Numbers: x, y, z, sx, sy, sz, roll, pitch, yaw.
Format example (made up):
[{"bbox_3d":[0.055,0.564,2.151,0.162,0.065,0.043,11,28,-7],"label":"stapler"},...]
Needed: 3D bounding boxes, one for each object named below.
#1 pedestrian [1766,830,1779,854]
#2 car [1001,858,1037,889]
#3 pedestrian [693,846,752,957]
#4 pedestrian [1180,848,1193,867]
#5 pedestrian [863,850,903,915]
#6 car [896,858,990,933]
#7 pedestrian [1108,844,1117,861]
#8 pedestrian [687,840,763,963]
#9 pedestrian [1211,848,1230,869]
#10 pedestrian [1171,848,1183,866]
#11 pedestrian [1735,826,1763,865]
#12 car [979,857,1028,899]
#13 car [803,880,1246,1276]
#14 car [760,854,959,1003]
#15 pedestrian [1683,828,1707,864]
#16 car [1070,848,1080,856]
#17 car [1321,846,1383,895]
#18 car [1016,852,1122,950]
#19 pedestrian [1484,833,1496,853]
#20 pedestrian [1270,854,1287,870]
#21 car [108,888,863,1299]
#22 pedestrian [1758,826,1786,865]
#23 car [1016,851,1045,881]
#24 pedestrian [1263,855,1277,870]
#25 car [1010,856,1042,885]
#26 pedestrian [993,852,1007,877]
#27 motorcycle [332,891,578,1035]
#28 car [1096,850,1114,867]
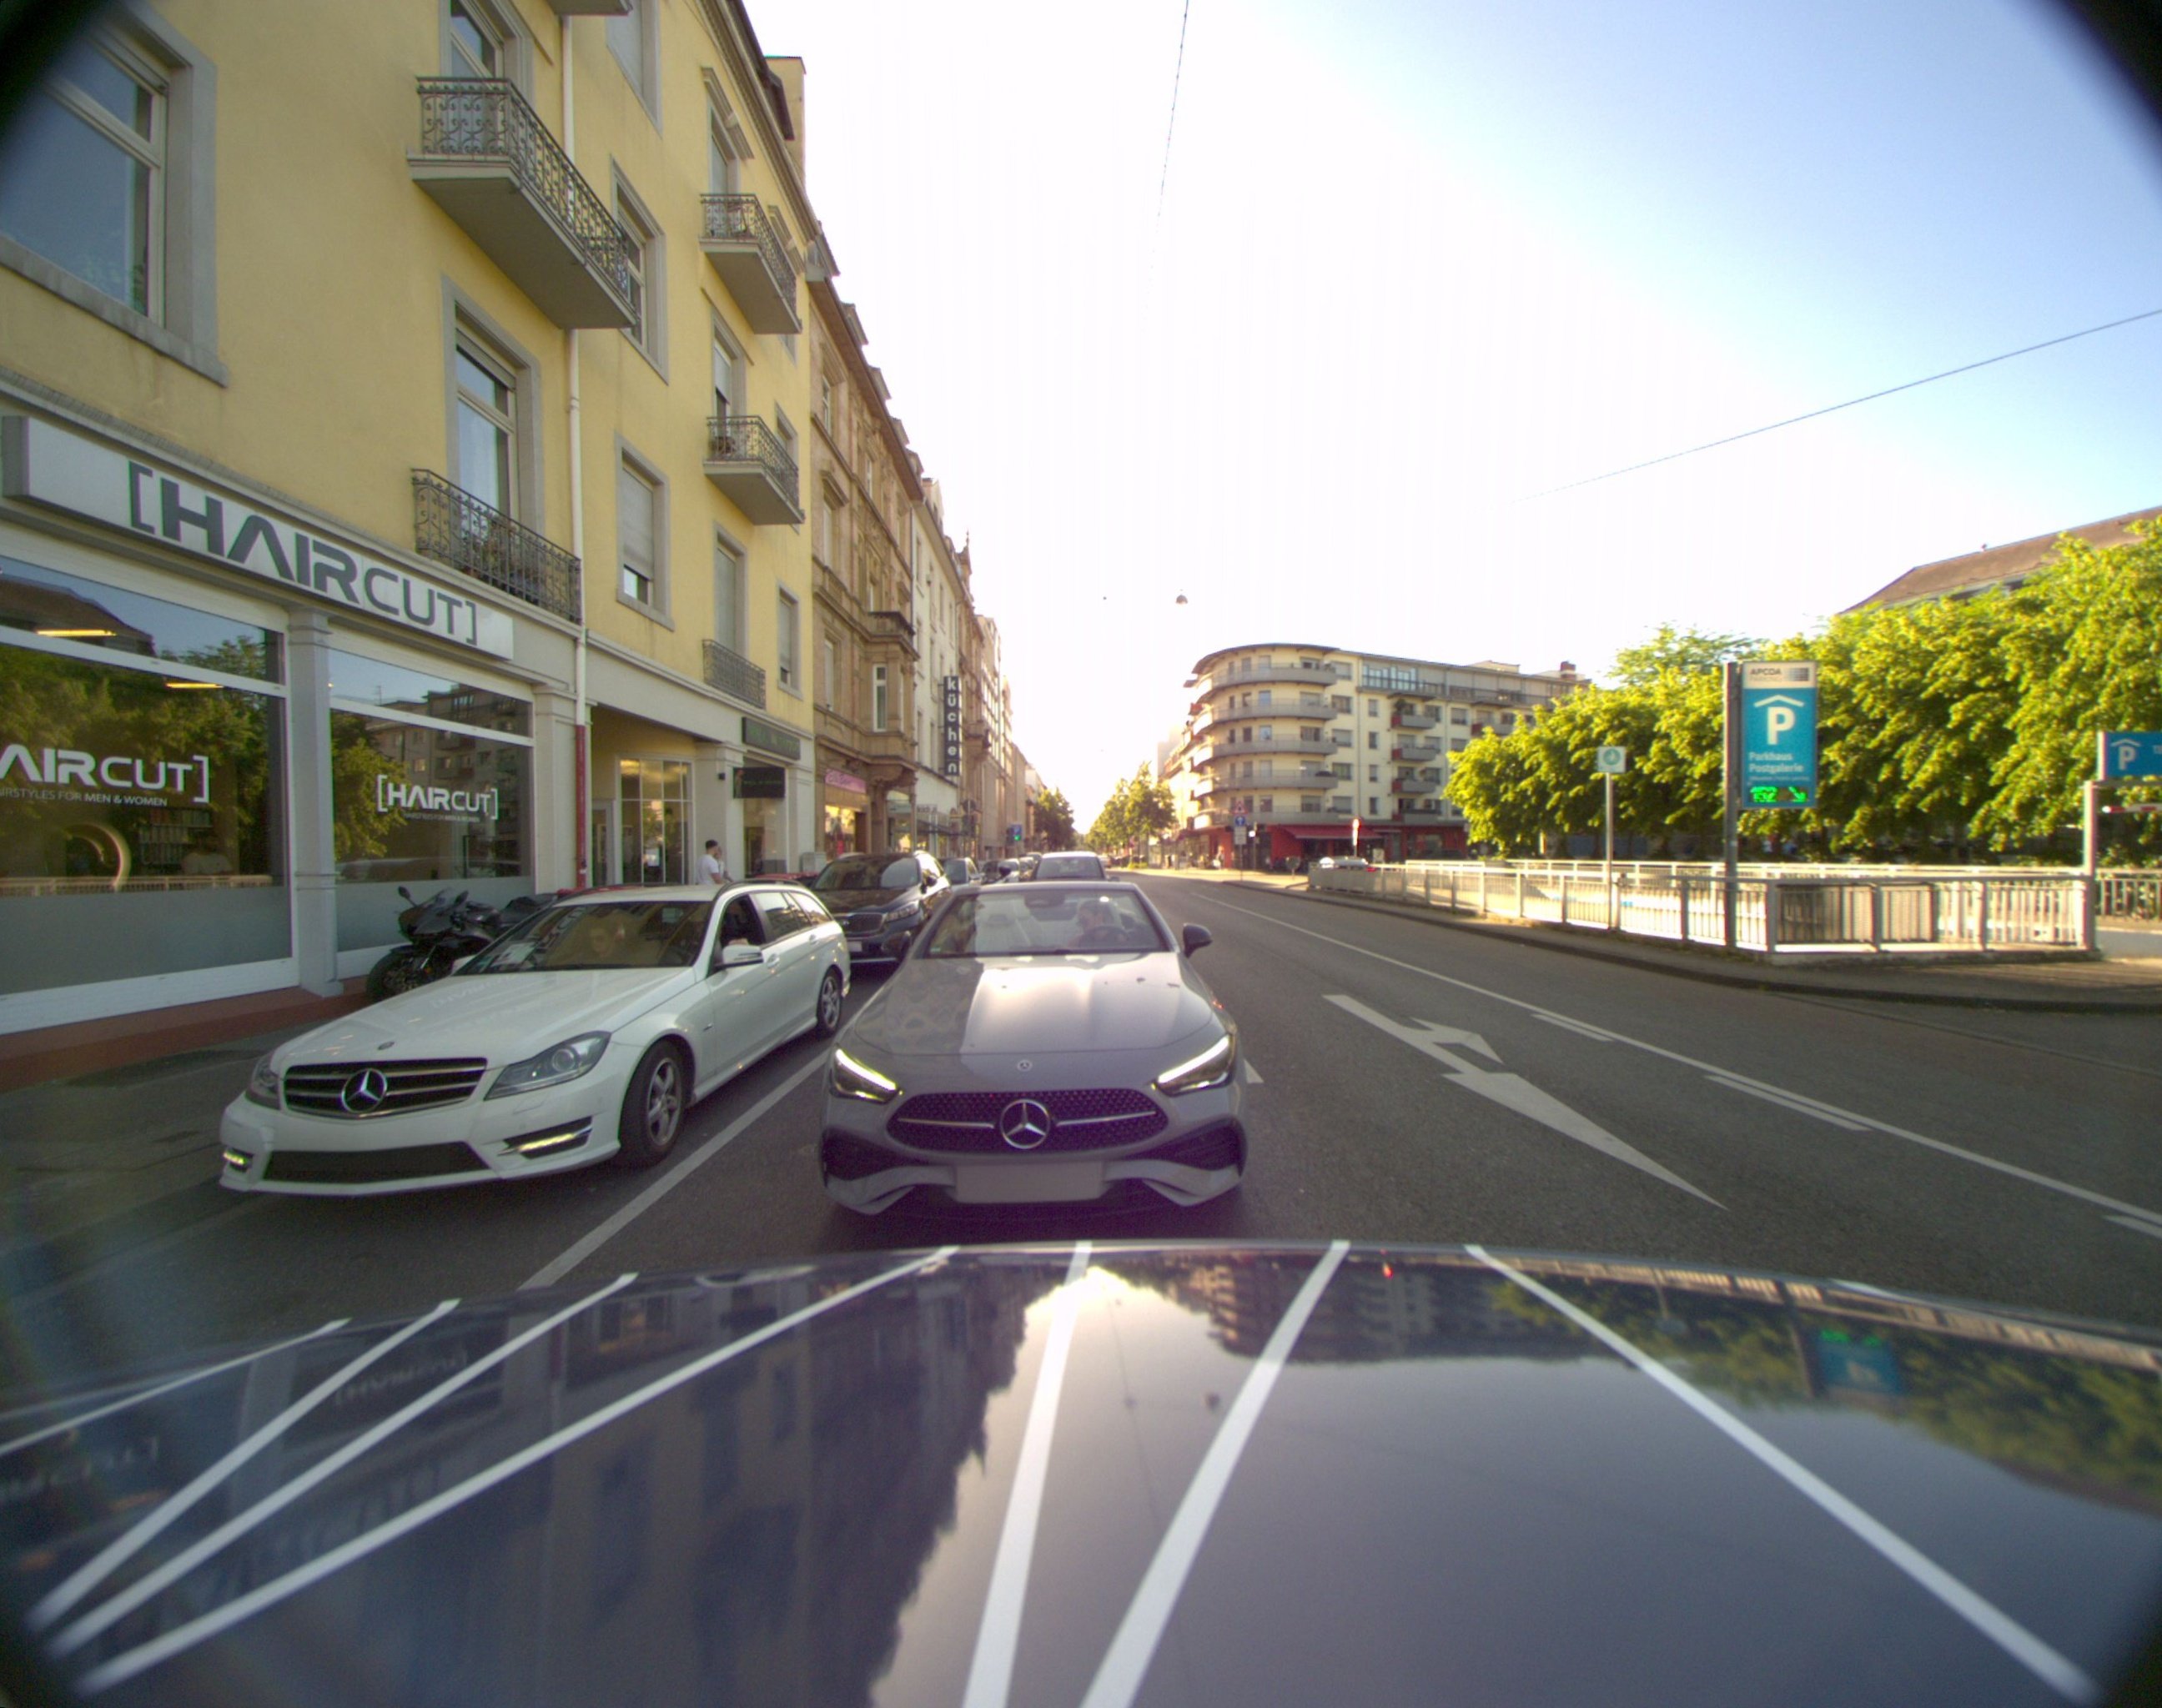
[{"bbox_3d":[46.227,-0.784,50.804,0.494,1.570,0.493,-3,1,-24],"label":"pedestrian"},{"bbox_3d":[-2.951,0.898,36.686,1.461,1.310,3.363,-2,1,-1],"label":"car"},{"bbox_3d":[-6.146,0.792,13.065,0.630,1.826,0.770,-2,1,-7],"label":"pedestrian"},{"bbox_3d":[10.304,0.353,74.122,1.060,1.739,0.962,-2,1,1],"label":"pedestrian"},{"bbox_3d":[-5.450,0.765,20.954,0.837,1.709,0.819,-2,1,-3],"label":"pedestrian"},{"bbox_3d":[-3.179,0.903,17.994,1.583,1.514,2.998,-2,1,1],"label":"car"},{"bbox_3d":[4.337,-0.236,103.719,1.117,2.328,1.028,-2,1,-2],"label":"pedestrian"},{"bbox_3d":[-5.693,0.728,12.148,0.975,1.866,0.534,-3,1,-31],"label":"pedestrian"},{"bbox_3d":[11.436,0.339,62.296,1.140,1.656,1.271,-2,1,-13],"label":"pedestrian"},{"bbox_3d":[9.602,0.327,76.142,1.068,1.709,1.081,-2,1,7],"label":"pedestrian"},{"bbox_3d":[32.385,-0.399,36.846,0.748,1.852,0.683,-2,1,-13],"label":"pedestrian"},{"bbox_3d":[-3.023,0.900,30.317,1.695,1.482,3.796,-2,1,-3],"label":"car"},{"bbox_3d":[-0.279,0.996,5.363,1.769,1.360,4.471,-2,1,-2],"label":"car"},{"bbox_3d":[-3.010,0.888,11.343,1.806,1.680,4.408,-2,1,-3],"label":"car"},{"bbox_3d":[31.851,-0.426,39.428,0.748,1.832,0.683,-3,1,-21],"label":"pedestrian"},{"bbox_3d":[-1.212,-0.425,150.089,1.695,1.437,3.575,-2,1,-2],"label":"car"},{"bbox_3d":[10.752,0.599,30.404,1.674,1.522,4.250,2,4,11],"label":"car"},{"bbox_3d":[-0.283,0.851,16.184,1.866,1.658,4.706,-2,1,-2],"label":"car"},{"bbox_3d":[38.370,-1.003,71.337,0.747,1.832,0.684,-2,1,1],"label":"pedestrian"},{"bbox_3d":[15.433,0.651,59.385,0.937,1.191,0.832,-3,1,-24],"label":"pedestrian"},{"bbox_3d":[-3.024,1.070,5.252,1.672,1.364,4.377,-2,1,1],"label":"car"},{"bbox_3d":[33.370,-0.426,36.683,0.748,1.832,0.683,-2,1,-13],"label":"pedestrian"},{"bbox_3d":[-3.149,0.714,47.552,1.695,1.670,3.880,-2,1,-3],"label":"car"},{"bbox_3d":[14.926,0.663,60.043,0.780,1.191,0.884,-2,1,-10],"label":"pedestrian"},{"bbox_3d":[-2.939,0.864,40.955,1.461,1.391,3.363,-2,1,-1],"label":"car"},{"bbox_3d":[-5.866,0.729,54.960,0.826,1.750,0.823,-2,1,-1],"label":"pedestrian"},{"bbox_3d":[-6.253,1.021,7.794,0.735,1.124,2.109,2,1,1],"label":"motorcycle"},{"bbox_3d":[2.716,0.478,87.114,1.836,1.831,3.886,1,1,-2],"label":"car"}]
